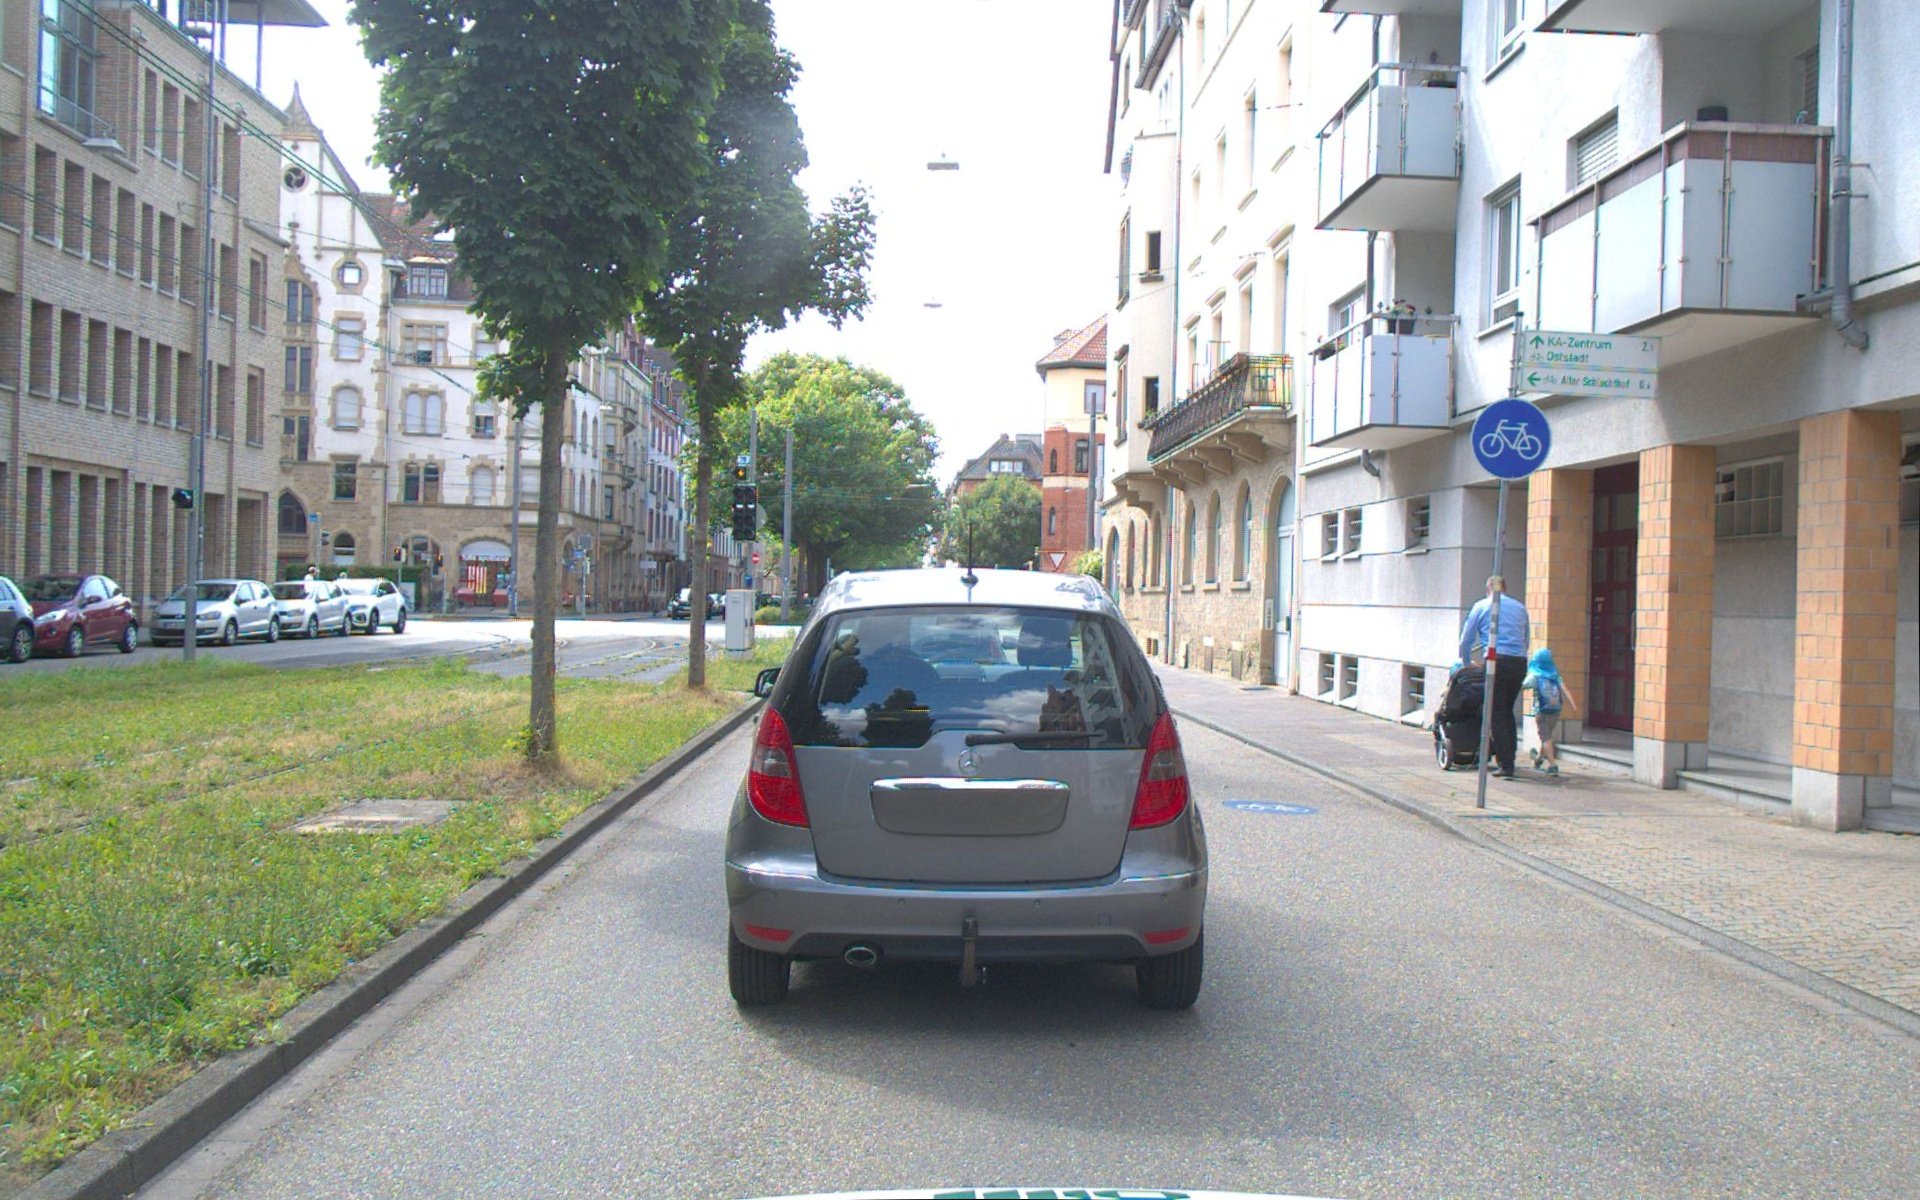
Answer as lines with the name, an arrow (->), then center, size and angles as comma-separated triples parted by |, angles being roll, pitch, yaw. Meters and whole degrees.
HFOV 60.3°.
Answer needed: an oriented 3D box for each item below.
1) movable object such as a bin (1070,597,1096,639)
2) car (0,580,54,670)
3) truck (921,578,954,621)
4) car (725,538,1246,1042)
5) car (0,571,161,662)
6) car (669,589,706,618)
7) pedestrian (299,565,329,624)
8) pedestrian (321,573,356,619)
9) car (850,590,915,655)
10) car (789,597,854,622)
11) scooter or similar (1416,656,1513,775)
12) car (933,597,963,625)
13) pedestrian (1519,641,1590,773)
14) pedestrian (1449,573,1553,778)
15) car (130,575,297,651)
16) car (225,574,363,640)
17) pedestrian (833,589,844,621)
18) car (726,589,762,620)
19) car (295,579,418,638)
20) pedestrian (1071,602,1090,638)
movable object such as a bin -> 4.448, 0.632, 59.701 | 0.701, 1.497, 0.980 | 1, 0, -10
car -> -16.176, 0.374, 25.660 | 1.893, 1.420, 4.238 | 1, 0, -1
truck -> -1.591, -0.032, 116.864 | 2.079, 3.022, 4.001 | 1, 0, 2
car -> 0.063, 0.628, 7.252 | 1.687, 1.633, 3.676 | 1, 0, -1
car -> -16.357, 0.282, 30.470 | 1.550, 1.557, 3.549 | 1, 0, -1
car -> -15.699, 0.197, 95.439 | 1.955, 1.646, 3.994 | 1, 0, -7
pedestrian -> -20.275, -0.181, 51.886 | 0.751, 1.827, 0.952 | 2, 0, -27
pedestrian -> -24.039, -0.165, 63.947 | 0.763, 1.752, 1.017 | 1, 0, 44
car -> -2.152, 0.616, 46.593 | 1.687, 1.736, 3.676 | 1, 0, -1
car -> -8.268, 0.559, 98.438 | 1.957, 1.362, 3.941 | 2, 0, -41
scooter or similar -> 4.705, 1.067, 15.459 | 0.580, 1.019, 0.905 | -3, 0, -1
car -> -0.744, 0.672, 103.946 | 1.716, 1.661, 3.500 | 2, 0, 2
pedestrian -> 5.394, 0.960, 15.025 | 0.447, 1.154, 0.494 | -1, 0, -1
pedestrian -> 4.814, 0.652, 14.759 | 0.608, 1.769, 0.877 | -1, 0, -1
car -> -16.573, 0.266, 36.943 | 1.813, 1.557, 4.209 | 1, 0, -1
car -> -16.901, 0.166, 42.169 | 1.893, 1.557, 4.014 | 1, 0, -1
pedestrian -> -6.890, 0.287, 93.805 | 0.484, 1.755, 0.652 | 2, 0, -9
car -> -12.647, 0.244, 97.023 | 1.955, 1.758, 3.994 | 1, 0, -7
car -> -16.980, 0.226, 46.748 | 1.893, 1.561, 4.257 | 1, 0, -1
pedestrian -> 5.798, 0.941, 79.344 | 0.851, 1.685, 0.736 | 1, 0, 3
